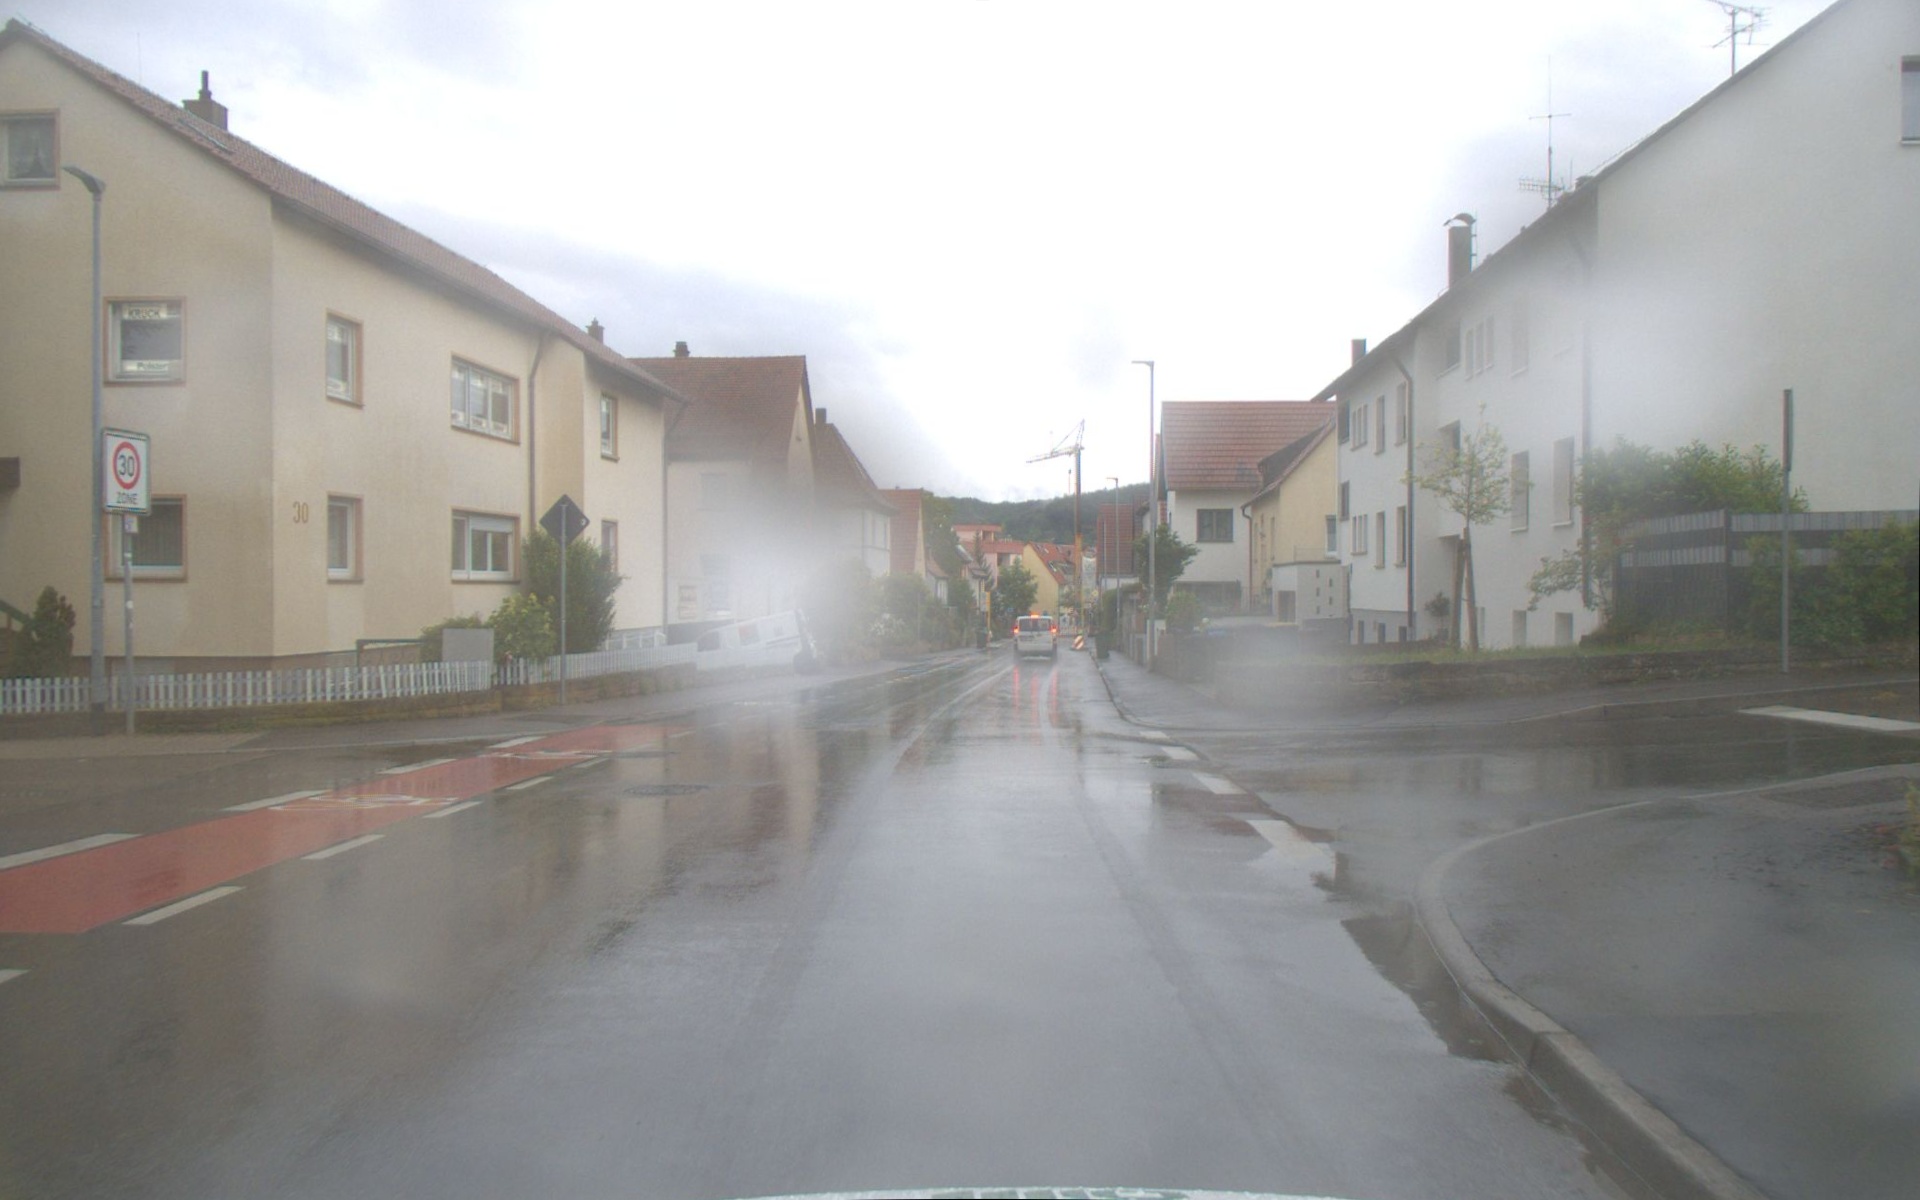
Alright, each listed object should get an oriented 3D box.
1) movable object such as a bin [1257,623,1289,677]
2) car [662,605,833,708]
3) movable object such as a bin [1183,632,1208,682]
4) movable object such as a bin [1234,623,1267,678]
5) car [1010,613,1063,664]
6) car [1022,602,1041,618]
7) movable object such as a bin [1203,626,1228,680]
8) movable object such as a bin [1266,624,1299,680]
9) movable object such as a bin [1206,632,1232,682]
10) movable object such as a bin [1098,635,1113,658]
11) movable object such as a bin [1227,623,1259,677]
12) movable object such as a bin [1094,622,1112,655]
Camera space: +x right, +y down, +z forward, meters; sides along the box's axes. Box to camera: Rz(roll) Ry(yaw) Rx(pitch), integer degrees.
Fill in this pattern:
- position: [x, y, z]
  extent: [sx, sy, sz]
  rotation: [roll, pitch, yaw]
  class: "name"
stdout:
- position: [6.254, 0.997, 33.080]
  extent: [0.533, 1.046, 0.632]
  rotation: [1, 1, 2]
  class: "movable object such as a bin"
- position: [-6.340, 1.664, 49.707]
  extent: [4.467, 2.044, 2.161]
  rotation: [-12, 1, 3]
  class: "car"
- position: [4.619, 1.117, 32.441]
  extent: [0.416, 0.957, 0.508]
  rotation: [1, 1, 2]
  class: "movable object such as a bin"
- position: [5.681, 0.984, 32.404]
  extent: [0.533, 1.046, 0.632]
  rotation: [1, 1, 2]
  class: "movable object such as a bin"
- position: [3.281, 1.587, 70.211]
  extent: [2.072, 1.921, 4.505]
  rotation: [1, 1, 4]
  class: "car"
- position: [8.359, 1.165, 192.680]
  extent: [1.802, 1.606, 4.293]
  rotation: [1, 1, 9]
  class: "car"
- position: [5.105, 1.060, 33.086]
  extent: [0.416, 1.046, 0.632]
  rotation: [1, 1, 2]
  class: "movable object such as a bin"
- position: [6.314, 1.011, 32.383]
  extent: [0.517, 1.046, 0.632]
  rotation: [1, 1, 2]
  class: "movable object such as a bin"
- position: [5.071, 1.114, 32.417]
  extent: [0.416, 0.957, 0.508]
  rotation: [1, 1, 2]
  class: "movable object such as a bin"
- position: [8.368, 2.660, 94.976]
  extent: [0.769, 1.299, 0.714]
  rotation: [1, 1, 8]
  class: "movable object such as a bin"
- position: [5.663, 0.991, 33.096]
  extent: [0.533, 1.046, 0.632]
  rotation: [1, 1, 2]
  class: "movable object such as a bin"
- position: [5.877, 1.581, 67.991]
  extent: [0.729, 1.301, 0.883]
  rotation: [-1, 1, 4]
  class: "movable object such as a bin"
